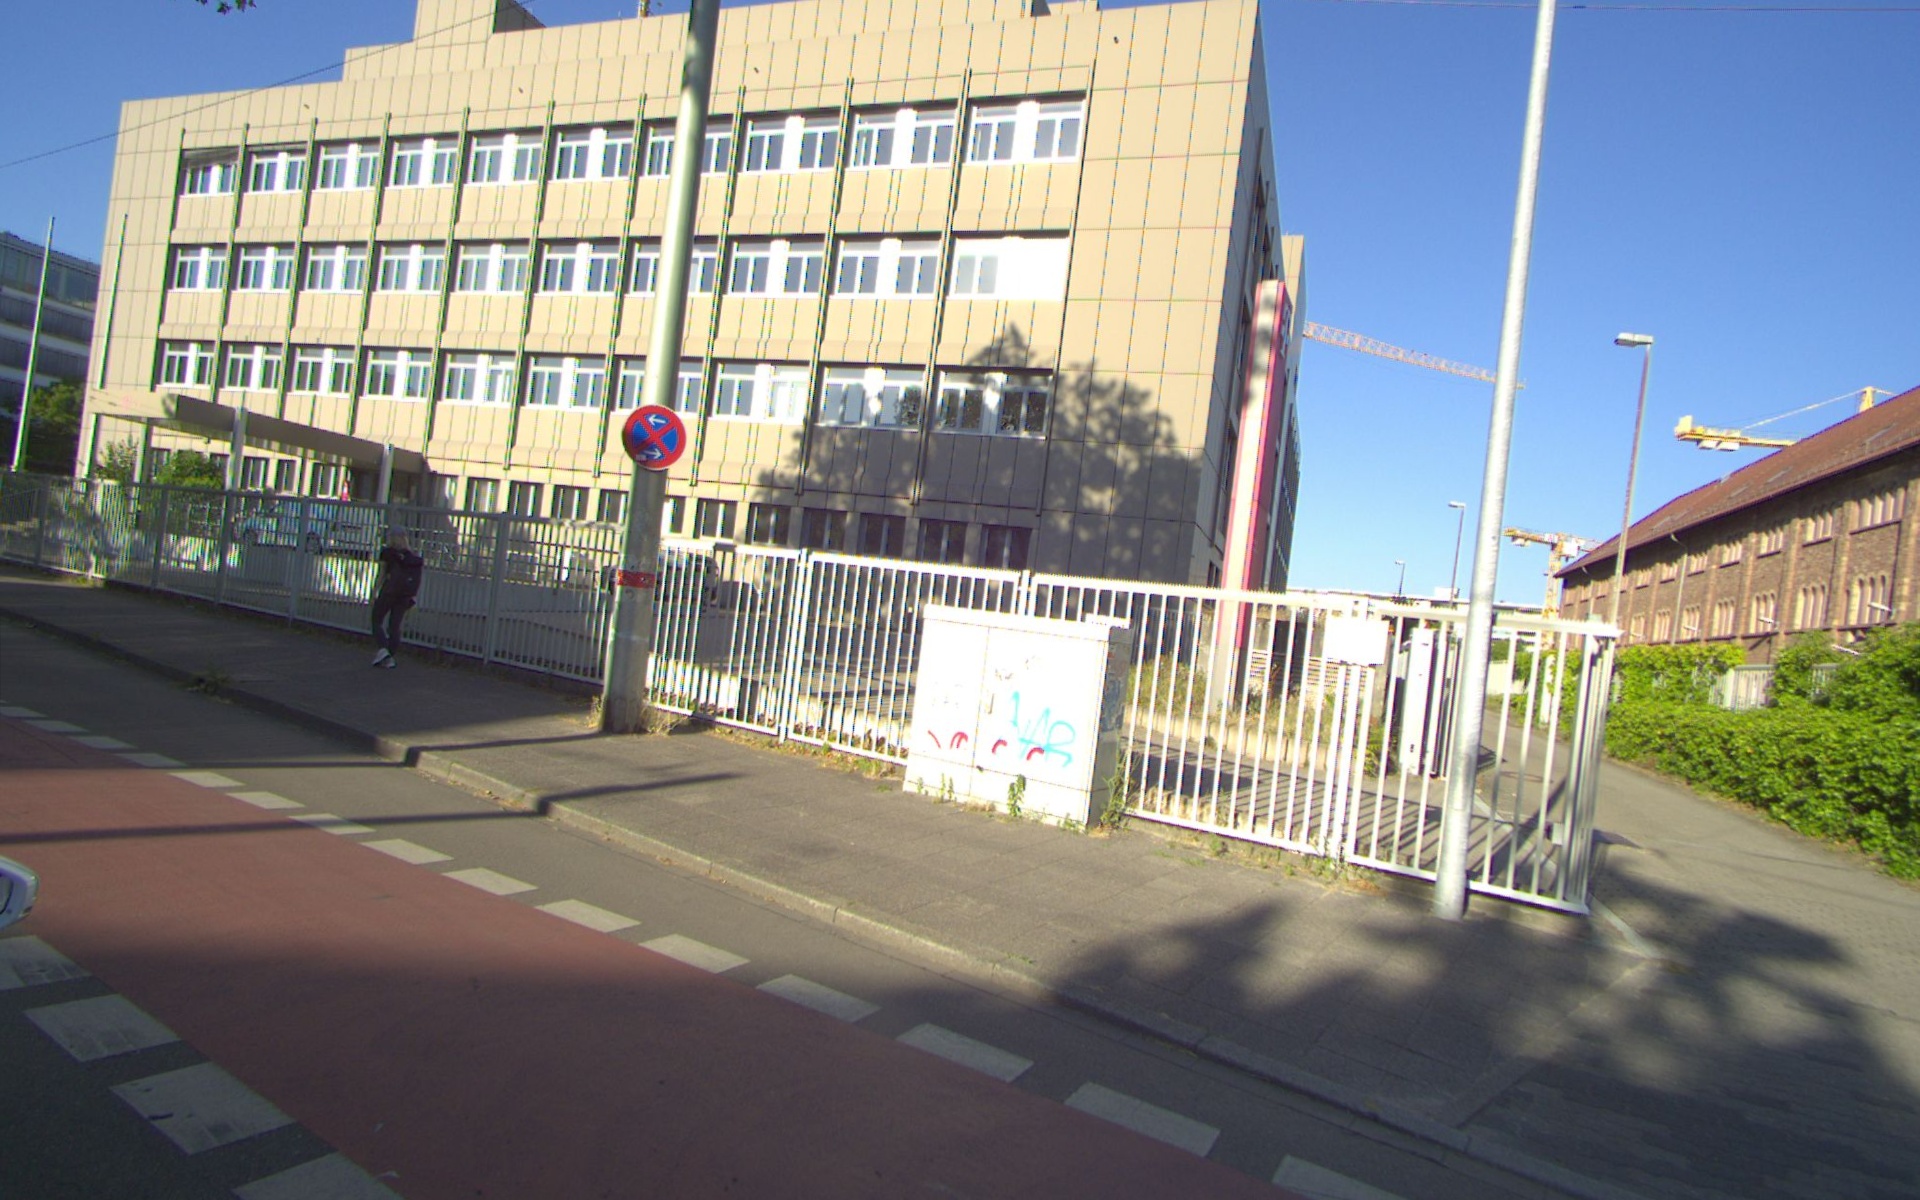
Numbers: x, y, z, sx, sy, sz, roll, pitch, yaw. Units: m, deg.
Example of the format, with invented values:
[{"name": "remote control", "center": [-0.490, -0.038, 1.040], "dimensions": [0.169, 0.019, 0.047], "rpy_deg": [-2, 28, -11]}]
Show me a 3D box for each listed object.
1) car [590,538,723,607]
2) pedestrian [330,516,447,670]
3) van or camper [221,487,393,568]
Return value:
[{"name": "car", "center": [-10.094, -0.857, 33.789], "dimensions": [1.956, 1.738, 4.267], "rpy_deg": [7, -1, 20]}, {"name": "pedestrian", "center": [-6.842, -0.077, 12.041], "dimensions": [0.915, 1.704, 0.697], "rpy_deg": [7, 0, 31]}, {"name": "van or camper", "center": [-21.177, -2.348, 32.637], "dimensions": [4.907, 1.932, 1.987], "rpy_deg": [7, 0, 20]}]
